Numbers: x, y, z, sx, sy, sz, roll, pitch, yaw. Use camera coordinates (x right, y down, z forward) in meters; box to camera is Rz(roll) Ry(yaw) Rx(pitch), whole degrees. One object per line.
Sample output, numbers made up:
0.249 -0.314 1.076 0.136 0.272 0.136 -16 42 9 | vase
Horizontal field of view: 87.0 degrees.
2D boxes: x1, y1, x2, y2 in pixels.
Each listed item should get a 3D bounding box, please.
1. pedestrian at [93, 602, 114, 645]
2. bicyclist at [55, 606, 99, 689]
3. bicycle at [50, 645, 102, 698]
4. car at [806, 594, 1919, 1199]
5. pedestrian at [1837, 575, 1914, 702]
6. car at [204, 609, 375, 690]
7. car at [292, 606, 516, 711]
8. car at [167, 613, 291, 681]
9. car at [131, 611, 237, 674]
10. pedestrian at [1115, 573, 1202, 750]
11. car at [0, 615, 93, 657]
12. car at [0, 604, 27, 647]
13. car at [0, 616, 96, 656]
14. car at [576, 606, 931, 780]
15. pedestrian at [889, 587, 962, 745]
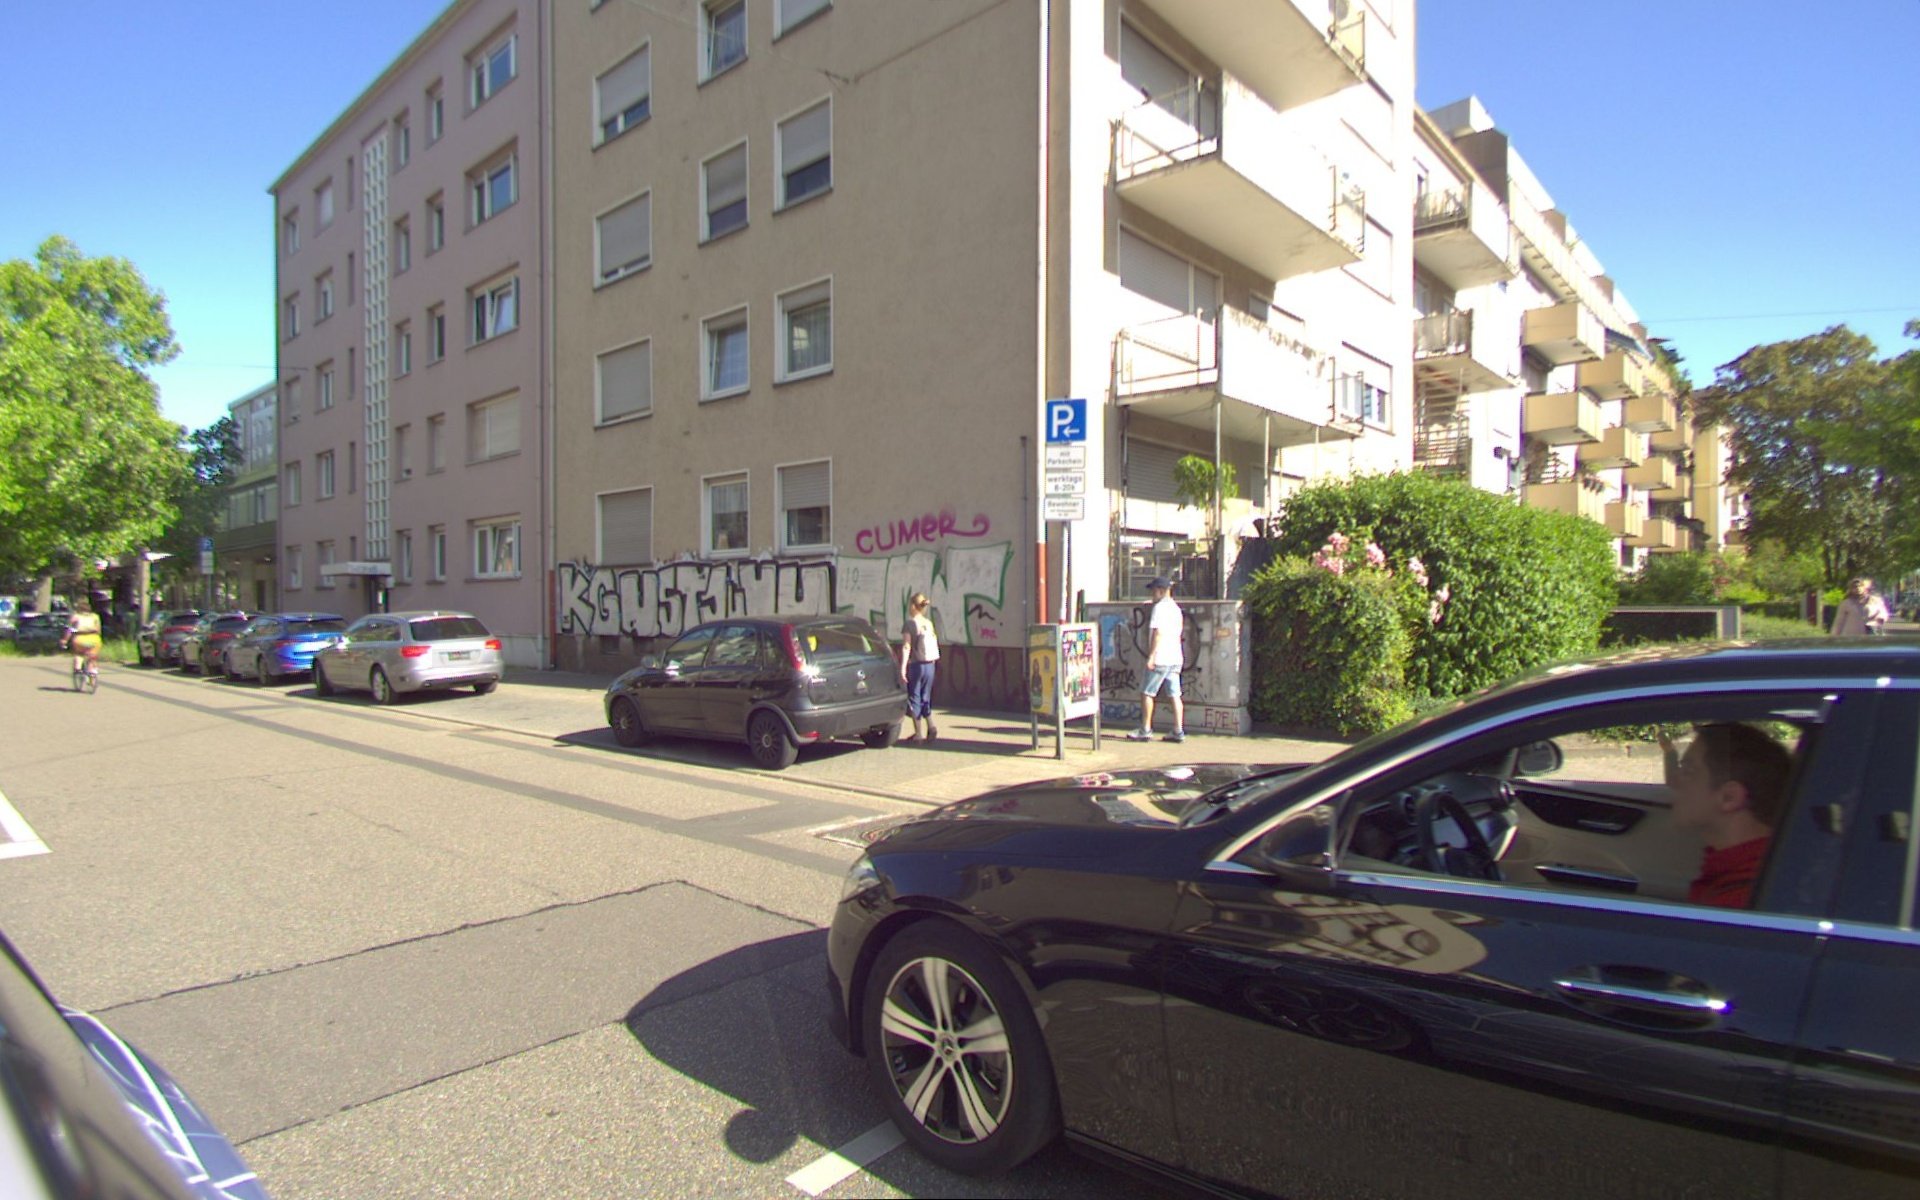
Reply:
-36.254 0.995 42.856 0.502 1.820 0.615 -1 -1 42 | pedestrian
-16.767 0.886 19.221 0.774 1.532 0.537 -1 -1 42 | bicyclist
-16.886 1.343 19.326 1.825 0.909 0.537 -1 -1 42 | bicycle
1.799 0.730 2.085 4.424 1.424 1.785 -1 -2 42 | car
12.003 0.496 13.290 0.696 1.608 0.639 -1 -1 40 | pedestrian
-14.669 1.003 22.030 4.798 1.514 1.805 -1 1 41 | car
-9.767 0.919 17.606 4.798 1.514 1.805 -1 1 41 | car
-18.220 1.100 25.162 4.158 1.478 1.704 -1 2 43 | car
-22.129 1.153 28.814 4.158 1.588 1.704 -1 2 43 | car
2.002 0.599 10.193 0.668 1.701 0.567 -1 -1 38 | pedestrian
-37.020 1.422 40.070 1.913 1.564 3.943 -1 -1 44 | car
-48.003 1.261 49.177 1.913 2.058 3.824 -1 -1 43 | car
-38.999 1.499 42.535 1.913 1.564 3.943 -1 -1 44 | car
-2.316 0.852 10.822 3.854 1.459 1.674 -1 1 40 | car
-0.363 0.670 10.638 0.524 1.593 0.564 0 -1 -38 | pedestrian
